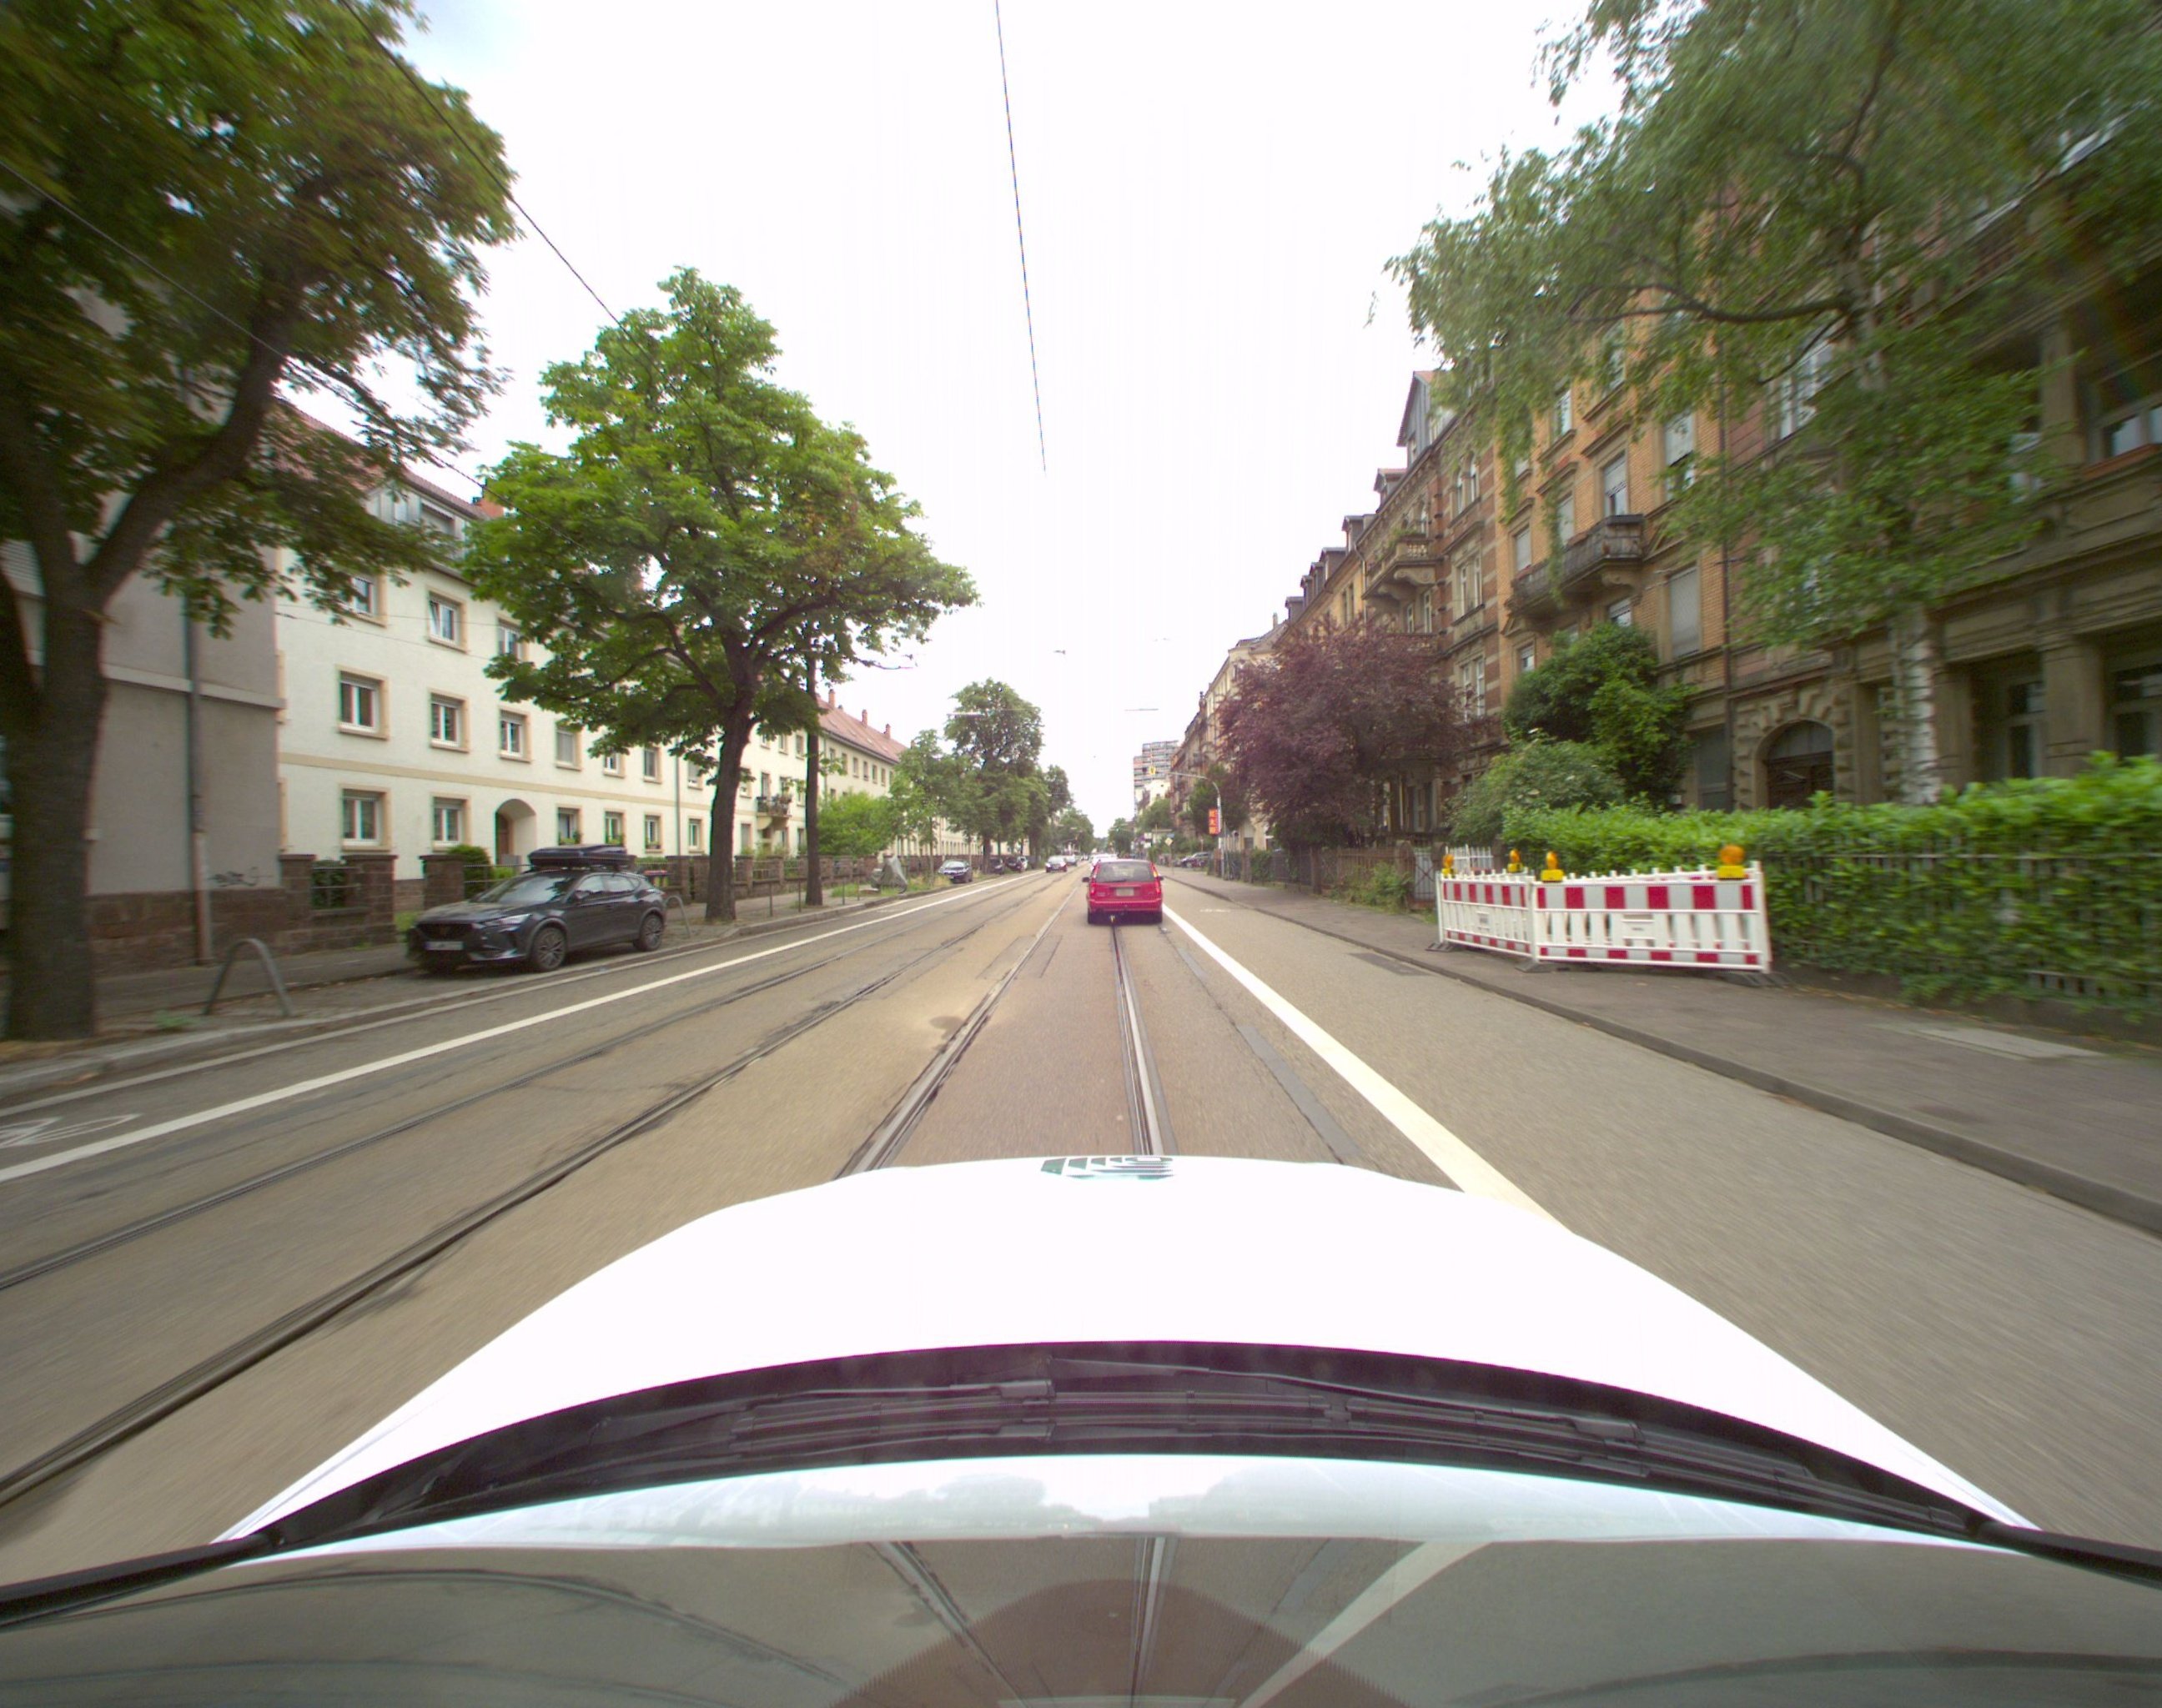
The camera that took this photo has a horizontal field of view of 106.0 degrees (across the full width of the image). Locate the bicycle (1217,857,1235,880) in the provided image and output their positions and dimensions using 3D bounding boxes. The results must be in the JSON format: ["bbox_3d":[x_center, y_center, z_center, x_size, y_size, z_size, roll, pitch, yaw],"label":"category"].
[{"bbox_3d":[7.305,0.723,41.077,0.521,1.099,2.177,-1,0,1],"label":"bicycle"}]

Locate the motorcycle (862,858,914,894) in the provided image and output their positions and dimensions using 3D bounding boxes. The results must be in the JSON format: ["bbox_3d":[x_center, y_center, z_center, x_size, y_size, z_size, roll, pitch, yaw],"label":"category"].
[{"bbox_3d":[-8.329,0.936,35.113,2.243,1.511,0.932,-1,-2,36],"label":"motorcycle"}]

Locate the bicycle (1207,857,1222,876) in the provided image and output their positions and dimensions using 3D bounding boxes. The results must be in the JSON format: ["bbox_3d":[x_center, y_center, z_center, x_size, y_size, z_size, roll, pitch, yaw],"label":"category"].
[{"bbox_3d":[7.523,0.711,45.871,0.521,1.030,2.177,-2,0,1],"label":"bicycle"}]

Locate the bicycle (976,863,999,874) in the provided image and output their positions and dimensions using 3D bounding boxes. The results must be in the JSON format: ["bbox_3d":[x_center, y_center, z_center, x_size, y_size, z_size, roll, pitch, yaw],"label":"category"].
[{"bbox_3d":[-7.481,1.195,65.371,1.742,0.844,0.684,-1,0,2],"label":"bicycle"}]

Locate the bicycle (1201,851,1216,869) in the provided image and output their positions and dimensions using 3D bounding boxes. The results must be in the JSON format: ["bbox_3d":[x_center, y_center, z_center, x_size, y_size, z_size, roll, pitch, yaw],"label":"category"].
[{"bbox_3d":[11.404,0.513,72.542,0.910,1.507,2.392,-1,0,18],"label":"bicycle"}]

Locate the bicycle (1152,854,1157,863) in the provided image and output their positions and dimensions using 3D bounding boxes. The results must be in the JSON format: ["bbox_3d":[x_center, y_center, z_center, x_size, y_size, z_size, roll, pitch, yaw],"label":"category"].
[{"bbox_3d":[9.560,0.618,106.240,0.488,1.099,1.734,-1,0,2],"label":"bicycle"}]

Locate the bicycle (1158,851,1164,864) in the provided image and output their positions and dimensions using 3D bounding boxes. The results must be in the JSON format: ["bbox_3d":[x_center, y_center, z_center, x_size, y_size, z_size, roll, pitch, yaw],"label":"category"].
[{"bbox_3d":[9.005,0.394,91.417,0.549,1.400,1.734,-1,0,2],"label":"bicycle"}]

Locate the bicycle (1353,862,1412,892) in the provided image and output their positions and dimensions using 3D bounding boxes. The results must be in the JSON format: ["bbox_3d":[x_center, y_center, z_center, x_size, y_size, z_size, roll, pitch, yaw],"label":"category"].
[{"bbox_3d":[9.261,0.706,25.076,1.607,0.863,0.556,-2,0,8],"label":"bicycle"}]

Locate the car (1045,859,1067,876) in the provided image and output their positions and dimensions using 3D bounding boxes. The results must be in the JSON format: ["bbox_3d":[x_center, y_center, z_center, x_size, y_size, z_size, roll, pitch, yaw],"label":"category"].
[{"bbox_3d":[-2.239,1.200,73.354,1.749,1.380,4.027,-1,0,1],"label":"car"}]

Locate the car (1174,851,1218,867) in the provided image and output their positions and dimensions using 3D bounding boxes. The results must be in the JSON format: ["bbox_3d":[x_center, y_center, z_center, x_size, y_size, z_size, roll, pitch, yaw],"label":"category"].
[{"bbox_3d":[10.980,0.456,77.465,3.961,1.361,1.898,-1,0,11],"label":"car"}]

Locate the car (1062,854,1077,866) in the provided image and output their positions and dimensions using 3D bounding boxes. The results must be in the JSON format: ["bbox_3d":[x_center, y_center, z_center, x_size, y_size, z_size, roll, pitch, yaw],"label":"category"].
[{"bbox_3d":[-1.526,0.770,108.944,1.887,1.611,4.501,-1,0,1],"label":"car"}]

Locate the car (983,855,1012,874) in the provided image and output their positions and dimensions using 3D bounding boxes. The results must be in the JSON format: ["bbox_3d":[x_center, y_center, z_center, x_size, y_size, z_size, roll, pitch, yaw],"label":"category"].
[{"bbox_3d":[-6.845,0.851,67.133,1.711,1.482,4.003,-1,0,3],"label":"car"}]

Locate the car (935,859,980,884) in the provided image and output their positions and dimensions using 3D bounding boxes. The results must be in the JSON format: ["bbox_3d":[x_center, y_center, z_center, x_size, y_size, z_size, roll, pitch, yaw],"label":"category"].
[{"bbox_3d":[-7.565,1.038,50.293,1.883,1.398,4.419,-1,0,2],"label":"car"}]

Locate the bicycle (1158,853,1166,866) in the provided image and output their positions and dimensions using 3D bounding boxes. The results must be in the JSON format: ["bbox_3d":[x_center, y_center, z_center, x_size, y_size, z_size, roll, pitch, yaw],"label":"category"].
[{"bbox_3d":[8.679,0.602,87.394,0.705,1.300,1.905,-1,0,2],"label":"bicycle"}]

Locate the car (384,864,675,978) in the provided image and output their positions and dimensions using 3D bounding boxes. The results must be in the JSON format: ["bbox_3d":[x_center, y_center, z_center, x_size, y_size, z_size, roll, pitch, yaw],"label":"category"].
[{"bbox_3d":[-8.713,0.962,13.421,1.770,1.511,4.240,0,0,2],"label":"car"}]

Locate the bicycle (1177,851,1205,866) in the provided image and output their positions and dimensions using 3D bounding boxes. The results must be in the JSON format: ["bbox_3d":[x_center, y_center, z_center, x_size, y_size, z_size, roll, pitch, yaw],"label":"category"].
[{"bbox_3d":[12.075,0.464,89.481,2.966,1.624,1.049,-1,0,-1],"label":"bicycle"}]

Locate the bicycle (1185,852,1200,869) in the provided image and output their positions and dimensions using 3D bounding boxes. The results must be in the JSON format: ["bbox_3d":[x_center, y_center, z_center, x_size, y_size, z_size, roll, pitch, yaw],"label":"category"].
[{"bbox_3d":[9.758,0.558,71.322,0.910,1.507,2.392,-1,0,18],"label":"bicycle"}]

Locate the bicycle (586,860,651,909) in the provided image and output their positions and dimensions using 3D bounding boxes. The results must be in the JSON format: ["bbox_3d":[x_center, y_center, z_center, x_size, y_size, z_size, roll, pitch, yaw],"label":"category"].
[{"bbox_3d":[-13.769,0.880,24.309,0.625,1.382,2.142,-1,0,2],"label":"bicycle"}]

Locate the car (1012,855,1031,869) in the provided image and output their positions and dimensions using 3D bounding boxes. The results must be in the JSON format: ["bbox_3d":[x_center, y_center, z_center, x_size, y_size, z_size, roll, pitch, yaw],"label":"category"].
[{"bbox_3d":[-6.682,0.897,91.701,1.707,1.580,4.002,0,0,2],"label":"car"}]

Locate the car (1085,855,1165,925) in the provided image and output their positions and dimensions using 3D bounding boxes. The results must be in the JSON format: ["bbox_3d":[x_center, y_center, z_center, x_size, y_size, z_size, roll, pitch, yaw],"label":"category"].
[{"bbox_3d":[0.973,0.762,19.029,1.683,1.441,3.744,0,0,1],"label":"car"}]

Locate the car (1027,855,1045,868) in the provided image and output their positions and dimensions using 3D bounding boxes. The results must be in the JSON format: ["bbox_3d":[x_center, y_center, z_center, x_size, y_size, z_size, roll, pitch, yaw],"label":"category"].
[{"bbox_3d":[-5.359,0.878,96.828,1.713,1.486,4.002,-1,0,2],"label":"car"}]

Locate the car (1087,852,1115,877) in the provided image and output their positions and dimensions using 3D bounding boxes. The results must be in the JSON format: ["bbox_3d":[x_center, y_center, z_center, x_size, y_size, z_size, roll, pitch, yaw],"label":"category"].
[{"bbox_3d":[1.411,0.692,56.157,1.711,1.624,3.944,-1,0,3],"label":"car"}]

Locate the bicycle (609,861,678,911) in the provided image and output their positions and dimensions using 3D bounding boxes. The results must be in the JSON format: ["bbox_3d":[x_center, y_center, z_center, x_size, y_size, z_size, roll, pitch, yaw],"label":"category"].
[{"bbox_3d":[-12.971,0.933,24.227,0.790,1.382,2.142,-1,0,2],"label":"bicycle"}]

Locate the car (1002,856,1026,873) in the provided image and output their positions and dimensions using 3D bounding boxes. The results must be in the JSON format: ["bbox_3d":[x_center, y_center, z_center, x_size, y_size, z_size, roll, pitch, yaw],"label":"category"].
[{"bbox_3d":[-6.581,1.040,80.442,1.844,1.563,3.944,-1,0,1],"label":"car"}]

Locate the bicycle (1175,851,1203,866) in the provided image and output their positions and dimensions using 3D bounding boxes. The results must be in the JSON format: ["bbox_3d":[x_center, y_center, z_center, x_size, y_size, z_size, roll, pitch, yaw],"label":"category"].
[{"bbox_3d":[12.043,0.463,91.216,2.966,1.624,1.049,-1,0,-1],"label":"bicycle"}]
